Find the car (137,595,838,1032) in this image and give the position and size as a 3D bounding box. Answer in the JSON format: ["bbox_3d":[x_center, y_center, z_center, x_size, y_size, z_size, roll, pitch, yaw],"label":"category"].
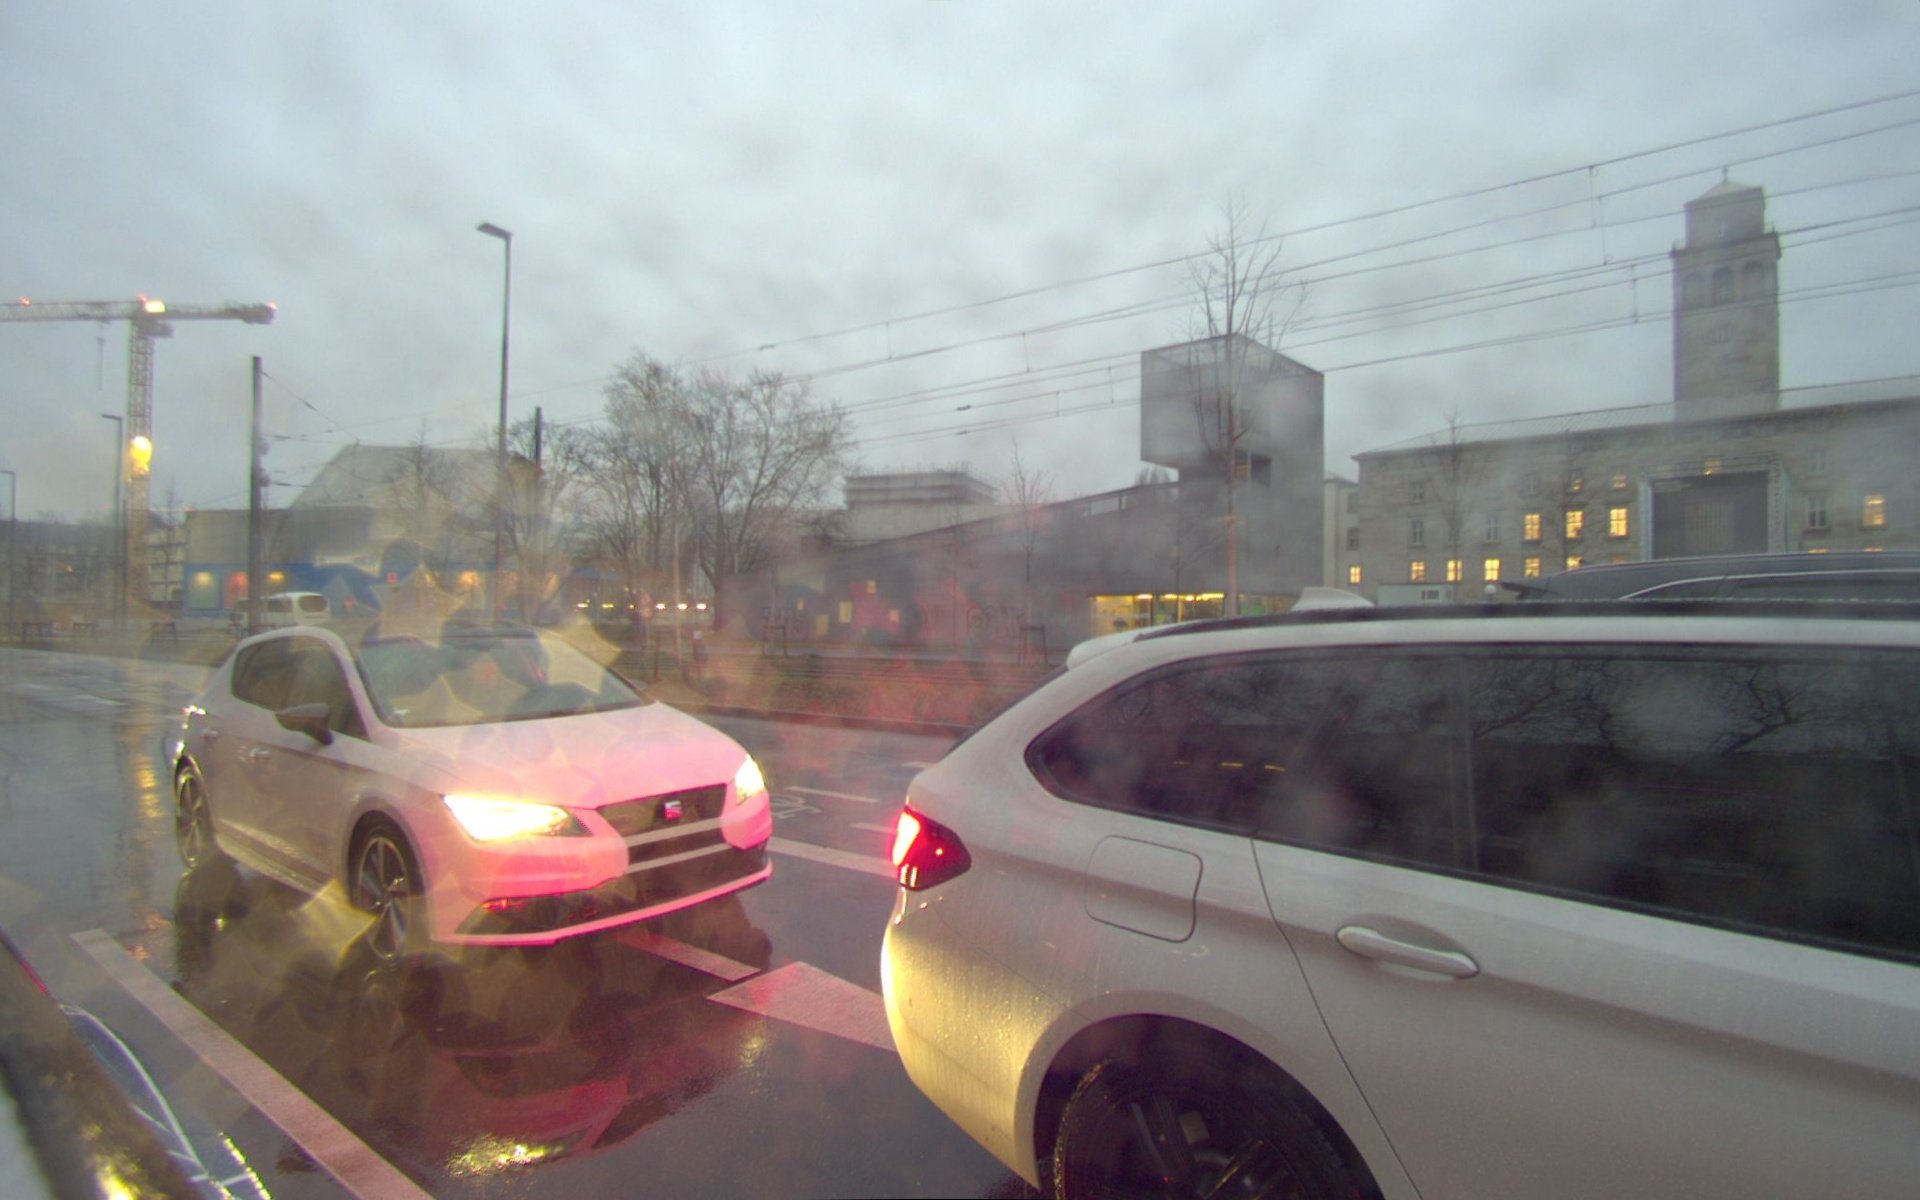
[{"bbox_3d":[-2.737,0.755,5.424,4.124,1.486,1.757,-1,-1,38],"label":"car"}]

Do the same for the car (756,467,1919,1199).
[{"bbox_3d":[1.964,0.624,1.728,4.919,1.532,1.890,-1,-2,40],"label":"car"}]

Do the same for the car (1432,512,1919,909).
[{"bbox_3d":[5.001,0.503,4.988,4.605,1.756,1.686,-1,-2,38],"label":"car"}]

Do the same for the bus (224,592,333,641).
[{"bbox_3d":[-53.258,1.290,78.915,12.277,3.605,2.783,-1,-2,35],"label":"bus"}]
